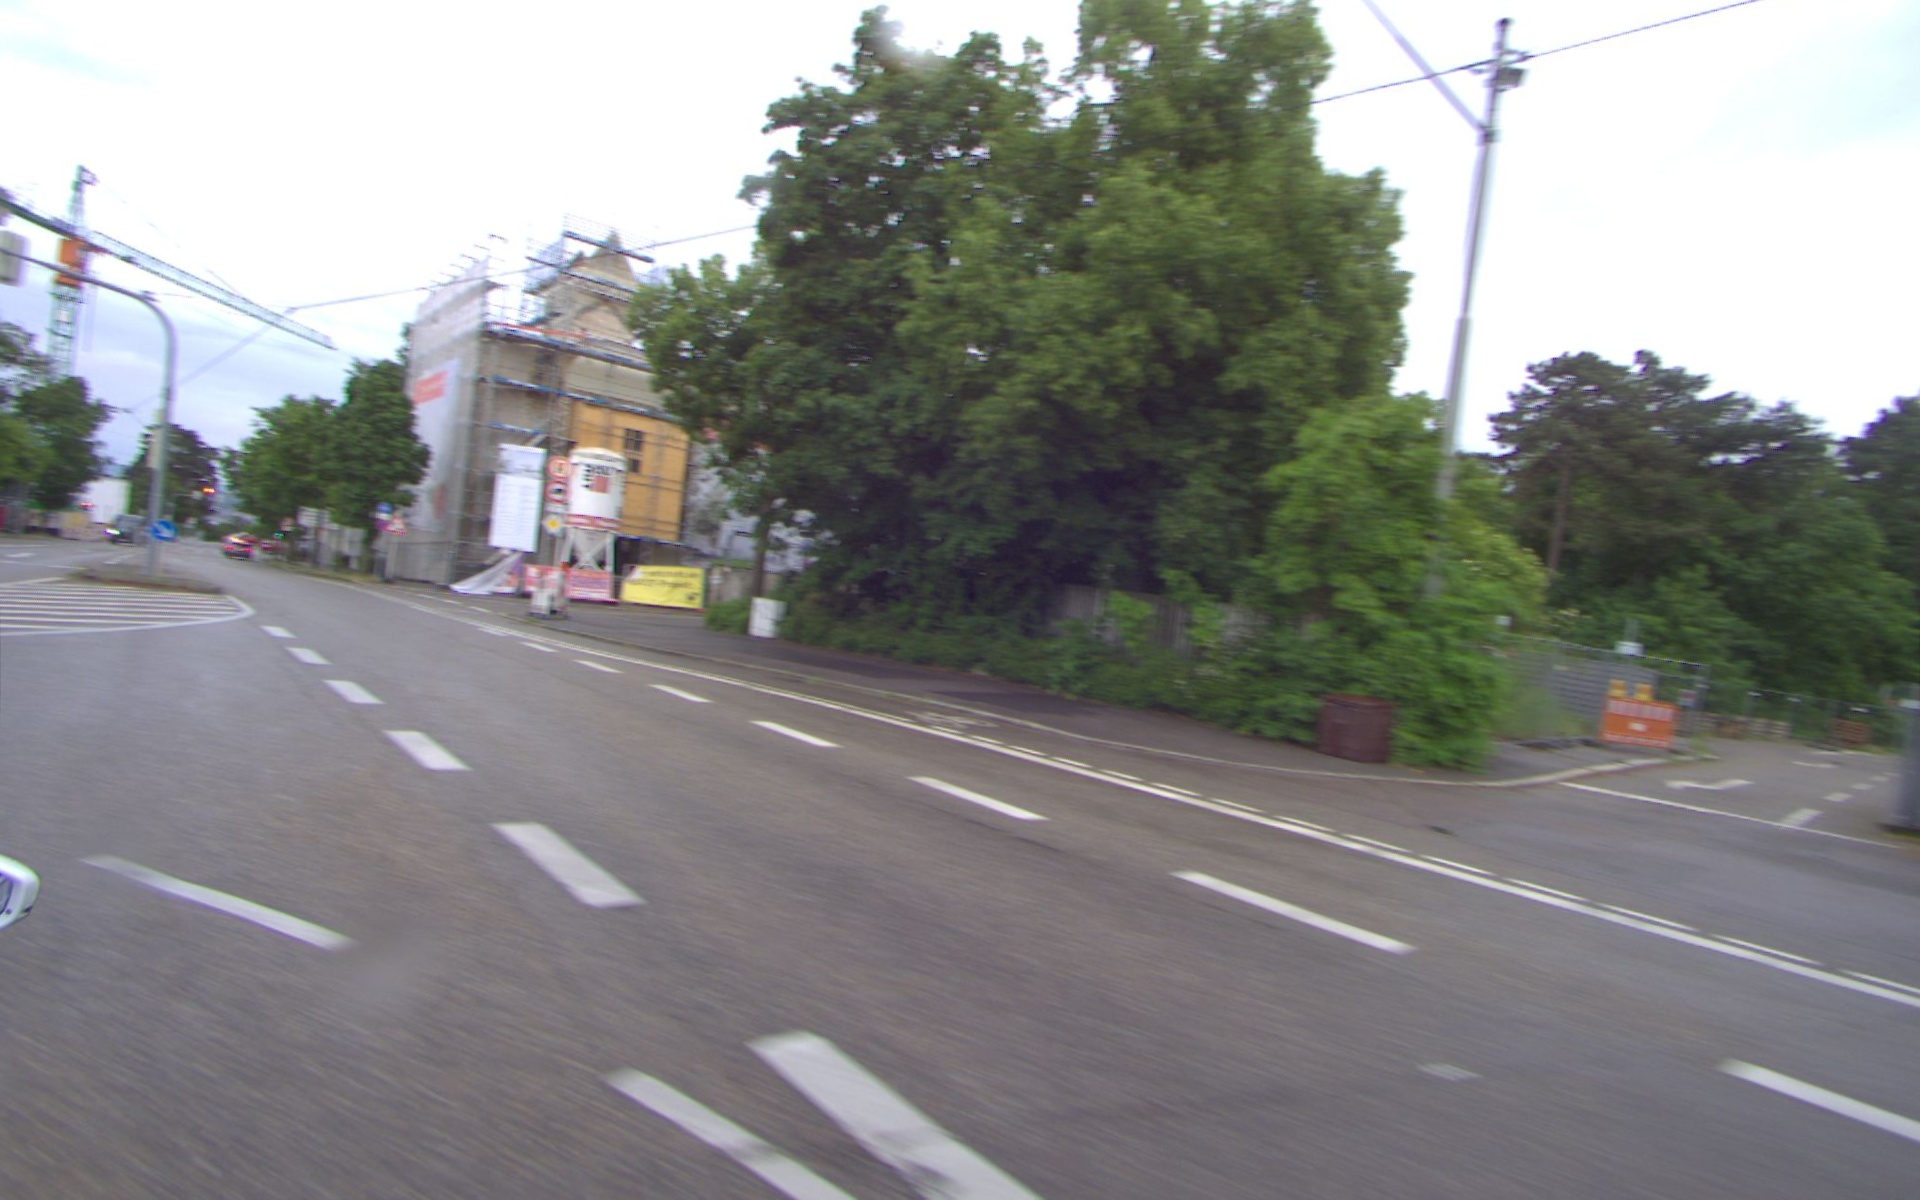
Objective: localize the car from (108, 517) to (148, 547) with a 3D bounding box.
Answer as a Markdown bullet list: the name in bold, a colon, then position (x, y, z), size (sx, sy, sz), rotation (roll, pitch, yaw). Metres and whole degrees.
- **car**: position (-69.878, -5.719, 84.529), size (1.822, 2.239, 3.966), rotation (7, 0, -32)

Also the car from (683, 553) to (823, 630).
- **car**: position (-6.735, -0.265, 33.016), size (3.924, 2.039, 2.000), rotation (7, 1, 5)

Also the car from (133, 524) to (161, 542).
- **car**: position (-79.350, -6.536, 98.262), size (1.565, 1.478, 3.507), rotation (7, 0, -32)

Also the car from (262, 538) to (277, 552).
- **car**: position (-121.895, -9.699, 177.500), size (1.982, 2.038, 3.962), rotation (7, -1, -35)

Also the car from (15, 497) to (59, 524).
- **car**: position (-81.748, -7.884, 89.129), size (1.980, 2.038, 3.966), rotation (7, 0, -32)

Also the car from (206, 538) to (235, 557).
- **car**: position (-68.926, -4.906, 93.797), size (1.764, 1.457, 3.838), rotation (7, 0, -32)
